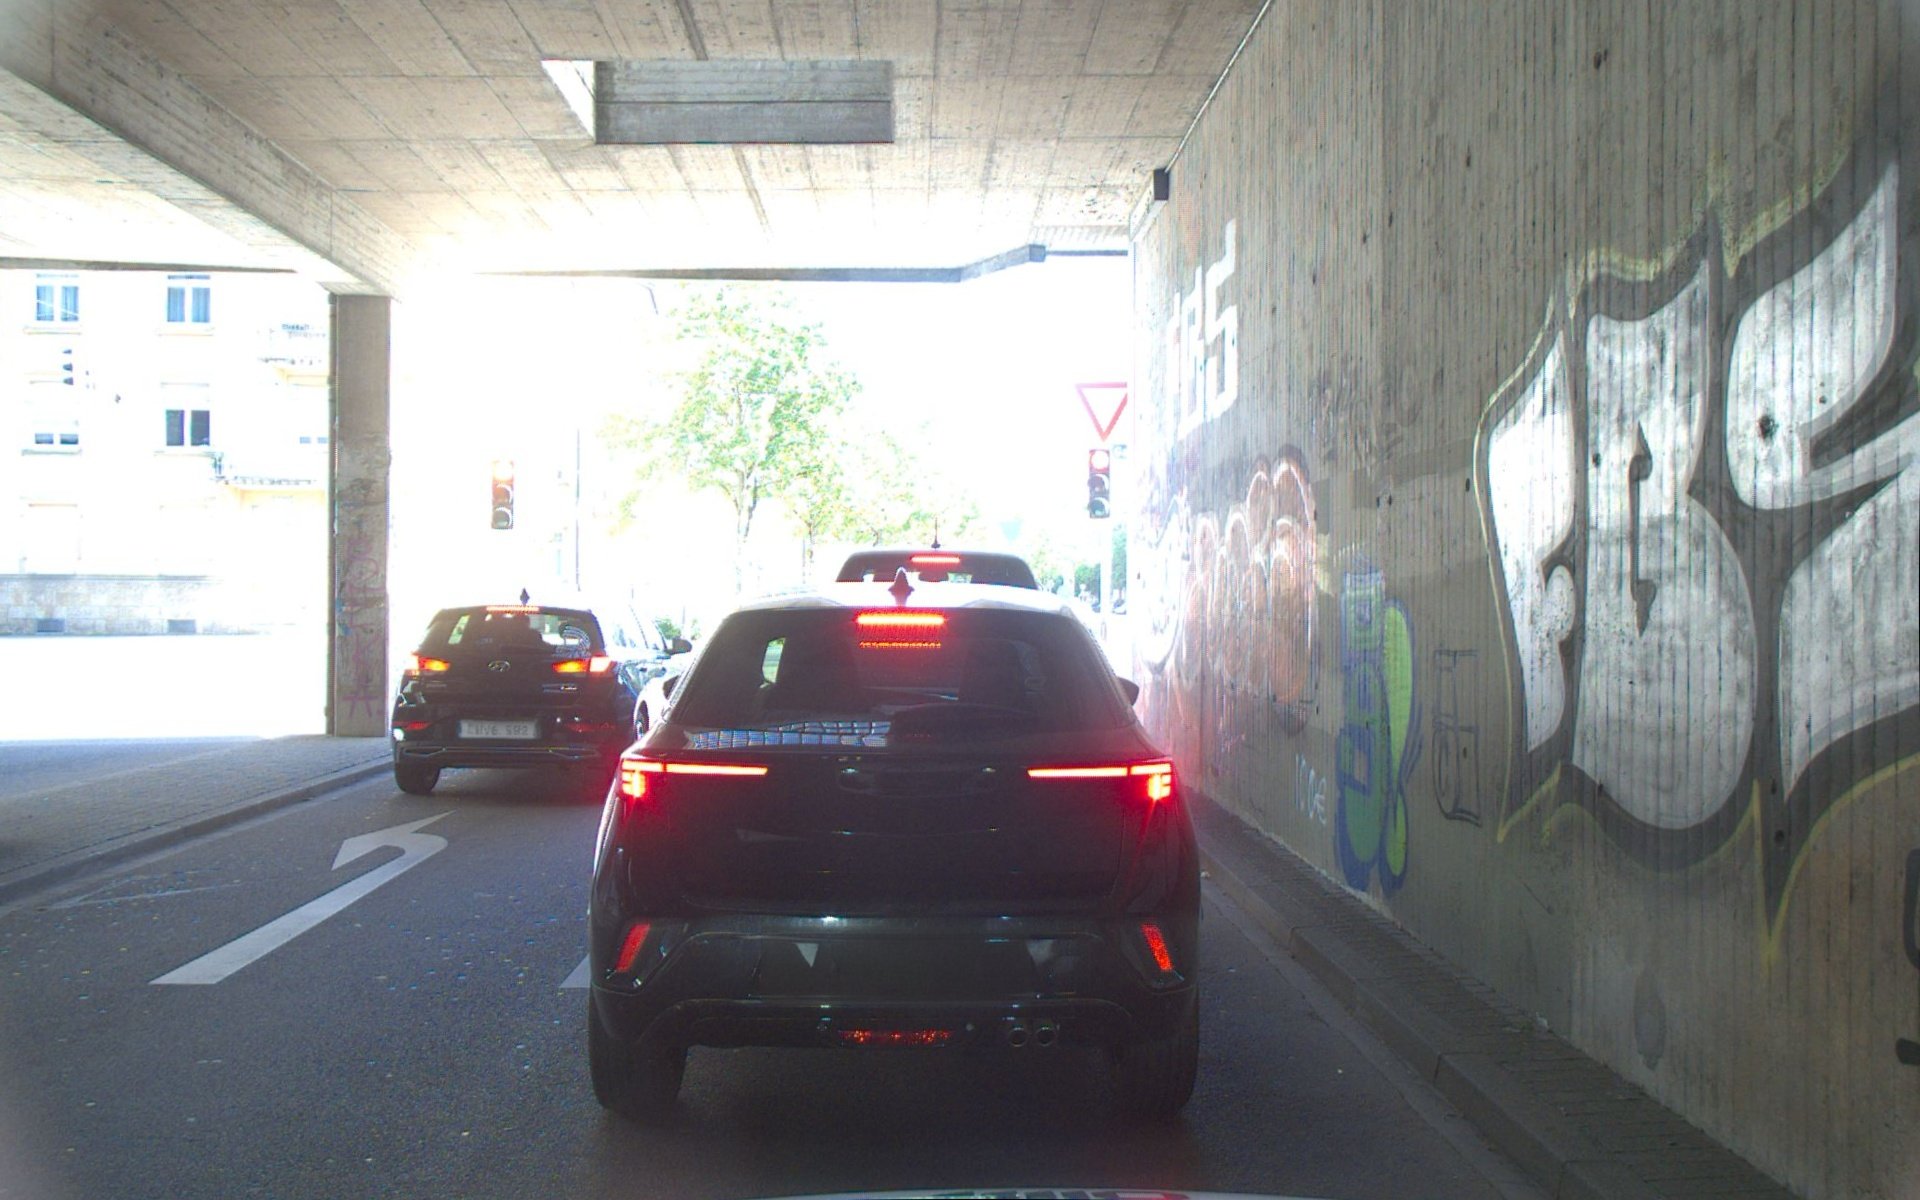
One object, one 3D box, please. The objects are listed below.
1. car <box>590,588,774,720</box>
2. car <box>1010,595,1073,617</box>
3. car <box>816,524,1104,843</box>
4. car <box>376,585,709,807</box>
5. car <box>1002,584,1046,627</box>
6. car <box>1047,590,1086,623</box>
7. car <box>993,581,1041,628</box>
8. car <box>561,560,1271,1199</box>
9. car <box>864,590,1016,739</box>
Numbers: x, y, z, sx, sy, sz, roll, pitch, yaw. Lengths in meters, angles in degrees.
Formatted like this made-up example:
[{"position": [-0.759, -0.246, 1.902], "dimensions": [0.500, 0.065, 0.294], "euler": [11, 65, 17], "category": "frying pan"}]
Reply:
[{"position": [-3.414, 0.614, 20.947], "dimensions": [1.726, 1.506, 3.843], "euler": [0, 0, -1], "category": "car"}, {"position": [6.584, 0.514, 133.865], "dimensions": [4.732, 1.696, 1.812], "euler": [1, 0, -22], "category": "car"}, {"position": [-0.026, 0.499, 12.029], "dimensions": [1.726, 1.915, 4.145], "euler": [0, 0, -1], "category": "car"}, {"position": [-3.143, 0.653, 13.226], "dimensions": [1.726, 1.506, 3.843], "euler": [0, 0, -1], "category": "car"}, {"position": [2.668, 0.214, 68.349], "dimensions": [1.717, 1.696, 3.946], "euler": [1, 0, 3], "category": "car"}, {"position": [5.656, 0.349, 87.582], "dimensions": [1.716, 1.696, 3.947], "euler": [1, 0, 8], "category": "car"}, {"position": [2.180, 0.180, 62.223], "dimensions": [1.717, 1.696, 3.946], "euler": [1, 0, 3], "category": "car"}, {"position": [-0.132, 0.681, 6.084], "dimensions": [1.726, 1.558, 4.088], "euler": [0, 0, -1], "category": "car"}, {"position": [-0.233, 0.666, 19.243], "dimensions": [1.576, 1.539, 4.053], "euler": [0, 0, -1], "category": "car"}]
